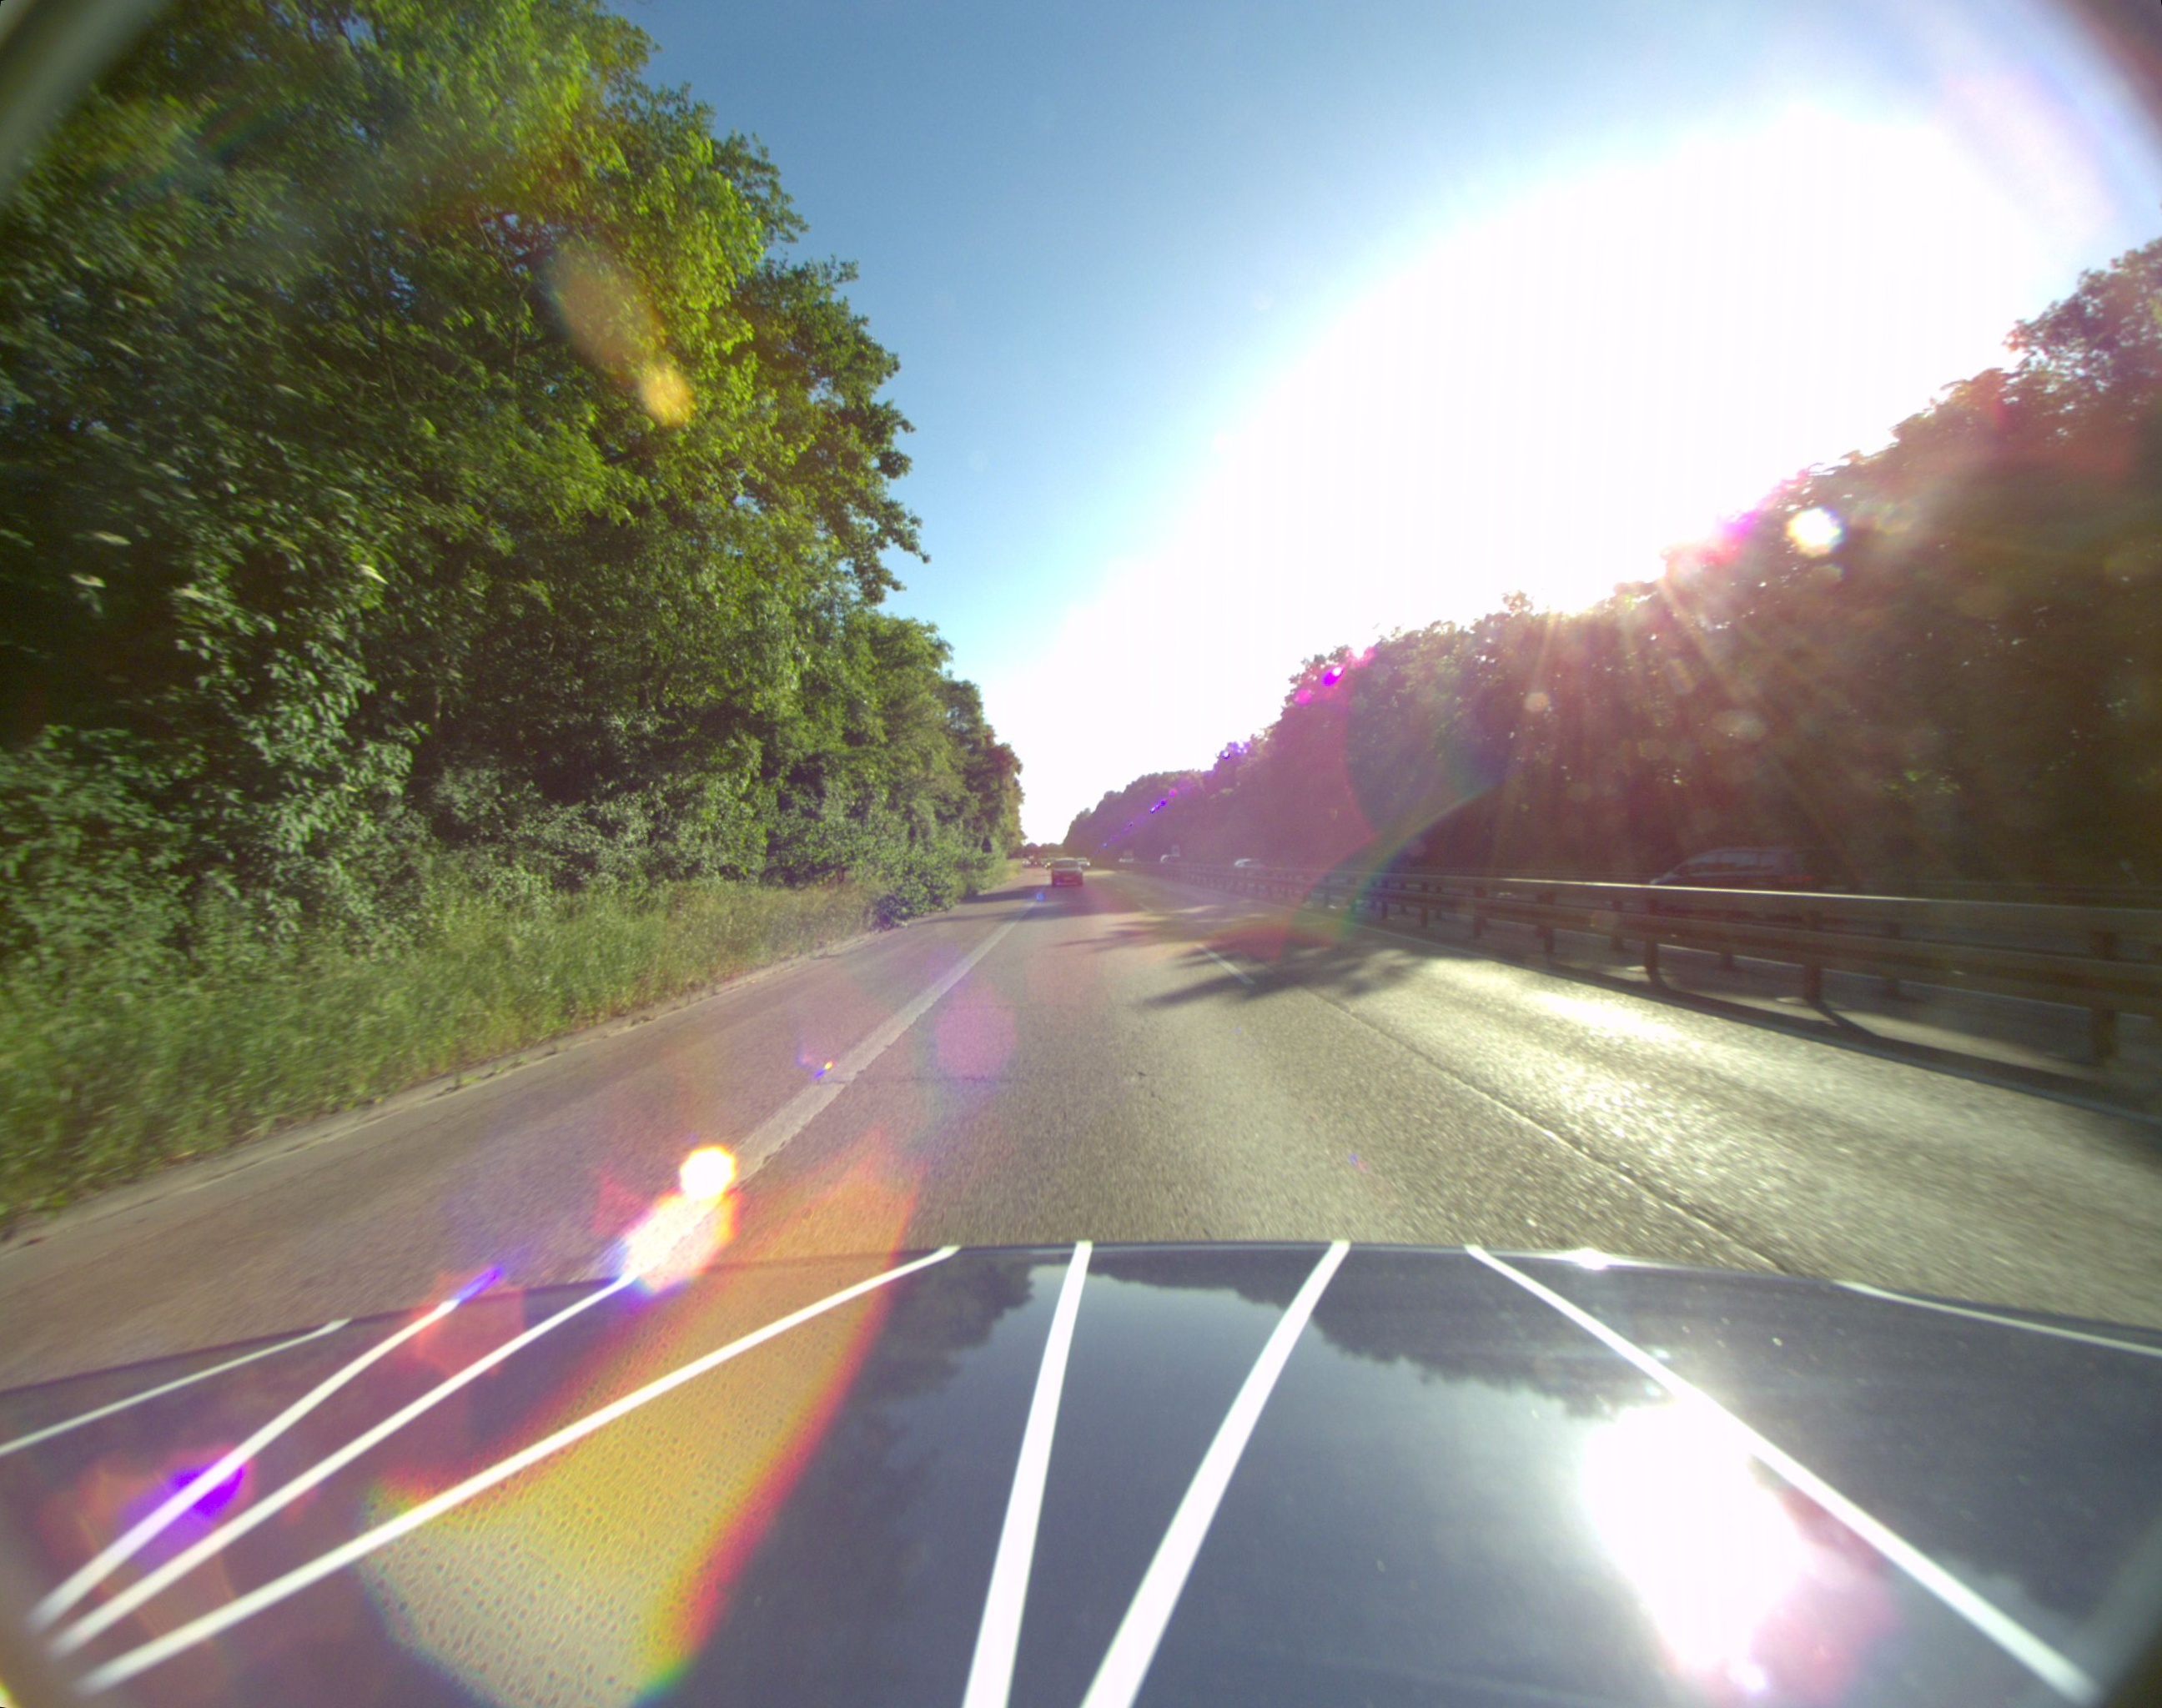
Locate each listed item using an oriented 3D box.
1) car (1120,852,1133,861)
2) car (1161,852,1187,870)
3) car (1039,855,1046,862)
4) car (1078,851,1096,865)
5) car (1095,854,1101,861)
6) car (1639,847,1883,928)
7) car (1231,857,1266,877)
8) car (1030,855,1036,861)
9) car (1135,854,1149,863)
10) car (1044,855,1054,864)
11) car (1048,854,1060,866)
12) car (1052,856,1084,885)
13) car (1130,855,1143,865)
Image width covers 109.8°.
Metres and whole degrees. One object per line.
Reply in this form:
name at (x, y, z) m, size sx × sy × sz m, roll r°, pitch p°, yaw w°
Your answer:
car at (9.003, 0.561, 149.899) m, size 1.999 × 1.739 × 4.549 m, roll 1°, pitch 0°, yaw -4°
car at (9.978, 0.720, 81.694) m, size 1.893 × 1.892 × 5.414 m, roll 1°, pitch 0°, yaw -2°
car at (-9.012, 1.065, 177.484) m, size 1.713 × 1.565 × 3.421 m, roll -2°, pitch 0°, yaw -3°
car at (0.781, 0.572, 100.925) m, size 1.999 × 1.793 × 3.998 m, roll 1°, pitch 0°, yaw -5°
car at (4.418, 0.938, 201.355) m, size 1.418 × 1.610 × 2.874 m, roll -1°, pitch 0°, yaw -4°
car at (15.605, 0.690, 17.853) m, size 1.601 × 1.629 × 4.676 m, roll 1°, pitch 0°, yaw 1°
car at (11.527, 0.840, 52.487) m, size 1.601 × 1.306 × 3.910 m, roll 1°, pitch 0°, yaw 1°
car at (-13.309, 1.072, 211.174) m, size 1.713 × 1.565 × 3.421 m, roll -2°, pitch 0°, yaw -3°
car at (10.932, 0.803, 136.833) m, size 1.999 × 1.575 × 3.998 m, roll 1°, pitch 0°, yaw -4°
car at (-5.540, 0.920, 130.624) m, size 1.713 × 1.565 × 3.421 m, roll -2°, pitch 0°, yaw -3°
car at (-3.968, 0.864, 110.469) m, size 1.713 × 1.565 × 3.421 m, roll -2°, pitch 0°, yaw -3°
car at (-0.736, 0.905, 43.483) m, size 1.713 × 1.565 × 3.422 m, roll -2°, pitch 0°, yaw 0°
car at (8.514, 0.895, 117.679) m, size 1.602 × 1.444 × 4.344 m, roll 1°, pitch 0°, yaw -1°
